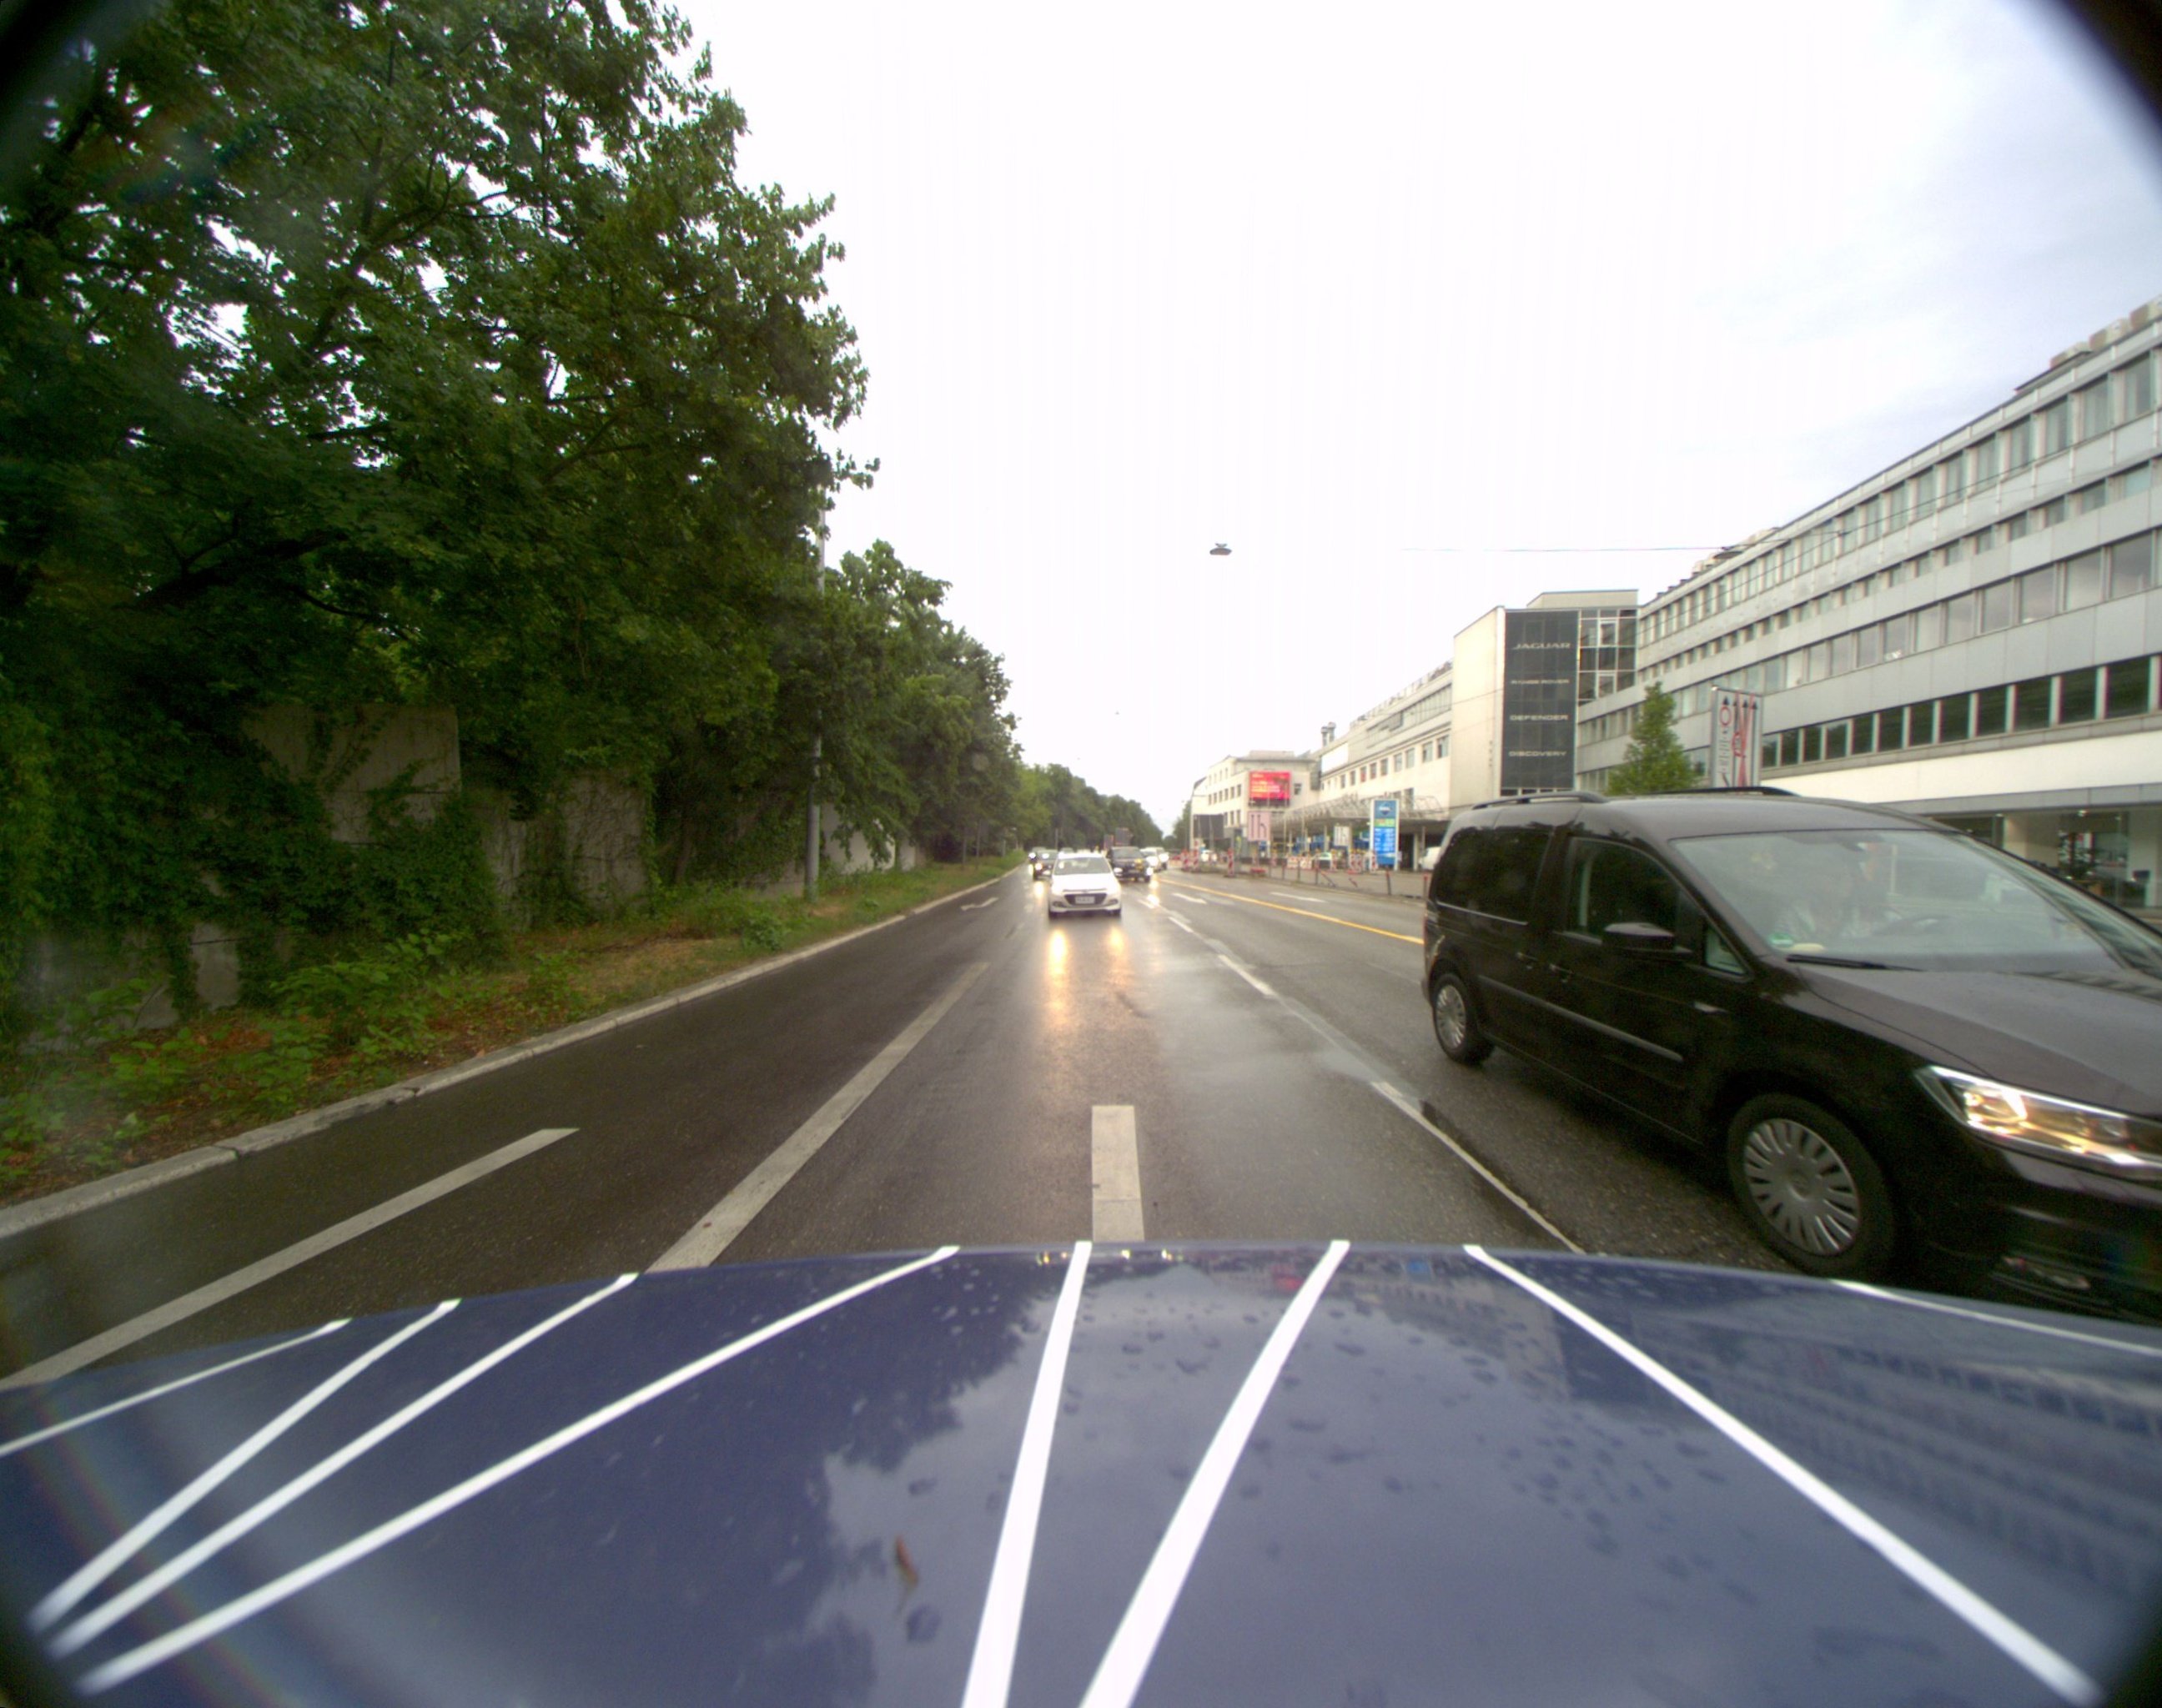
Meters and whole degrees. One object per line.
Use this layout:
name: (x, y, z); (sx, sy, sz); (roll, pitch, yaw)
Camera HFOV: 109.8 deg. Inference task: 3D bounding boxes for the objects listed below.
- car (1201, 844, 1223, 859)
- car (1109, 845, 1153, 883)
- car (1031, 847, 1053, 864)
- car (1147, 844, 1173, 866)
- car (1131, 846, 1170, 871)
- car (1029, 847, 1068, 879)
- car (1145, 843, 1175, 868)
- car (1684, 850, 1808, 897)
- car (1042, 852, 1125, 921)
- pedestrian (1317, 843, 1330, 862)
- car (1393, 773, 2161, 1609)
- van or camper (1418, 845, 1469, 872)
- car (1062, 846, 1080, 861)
car: (14.770, -0.307, 85.717); (1.805, 1.523, 3.764); (3, 0, 0)
car: (2.290, 0.420, 35.767); (1.814, 1.590, 4.333); (-2, 1, 1)
car: (-3.831, 0.127, 74.894); (1.814, 1.590, 4.333); (-2, 1, 2)
car: (6.242, 0.045, 60.255); (1.771, 1.608, 3.949); (-2, 1, 2)
car: (4.564, 0.253, 49.322); (1.769, 1.407, 4.337); (-2, 1, 15)
car: (-1.734, 0.456, 42.314); (1.814, 1.590, 4.333); (-2, 1, 2)
car: (5.675, 0.087, 54.956); (1.771, 1.628, 4.333); (-2, 1, 2)
car: (28.244, 0.775, 32.463); (1.922, 1.805, 4.166); (-2, 1, 6)
car: (0.112, 0.732, 19.245); (1.814, 1.444, 4.333); (-2, 1, 2)
pedestrian: (23.550, -0.156, 73.827); (0.895, 1.804, 0.941); (-2, 1, 5)
car: (3.313, 0.669, 3.609); (1.905, 1.804, 4.430); (-2, 1, 2)
van or camper: (26.722, 0.270, 56.174); (1.939, 1.913, 4.686); (0, 1, 6)
car: (-1.111, -0.099, 87.862); (1.814, 1.590, 4.333); (-2, 1, 2)
